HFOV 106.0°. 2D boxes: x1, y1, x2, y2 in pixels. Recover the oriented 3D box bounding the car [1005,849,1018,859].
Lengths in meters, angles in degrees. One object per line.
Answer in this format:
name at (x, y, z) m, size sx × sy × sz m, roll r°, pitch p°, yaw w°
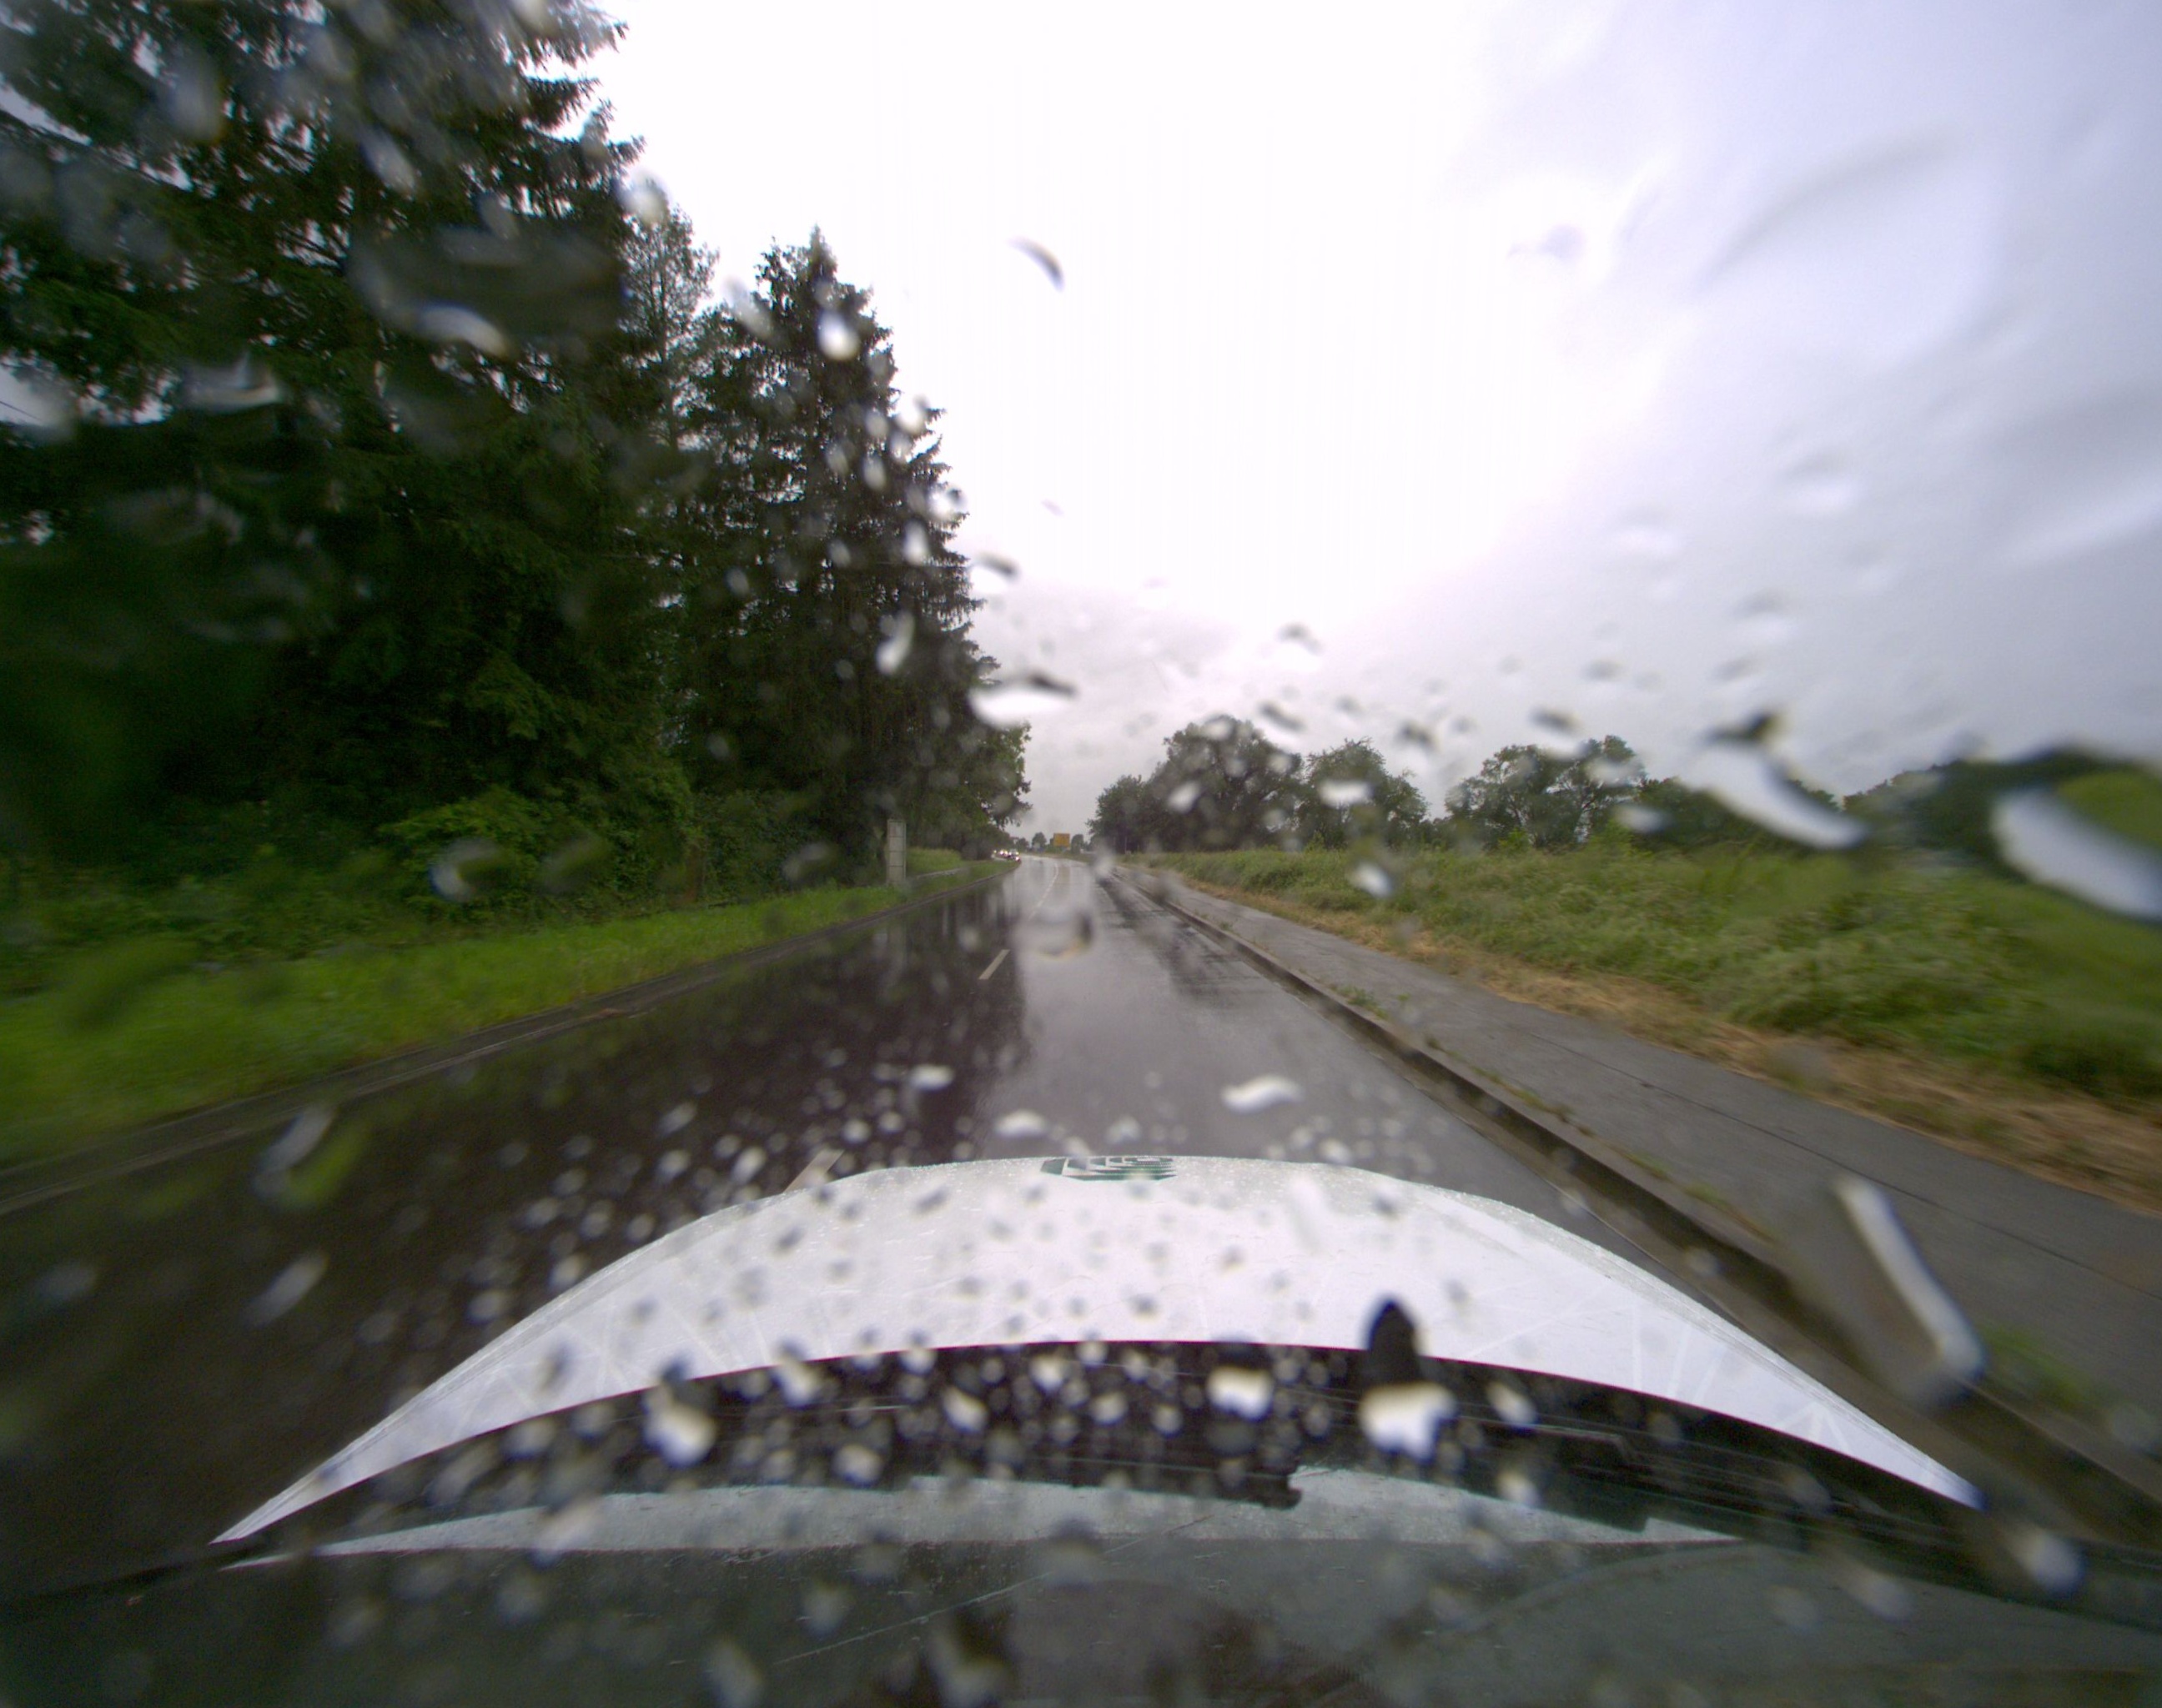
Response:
car at (-13.500, -0.052, 157.839) m, size 1.763 × 1.551 × 3.982 m, roll -1°, pitch 4°, yaw -14°
